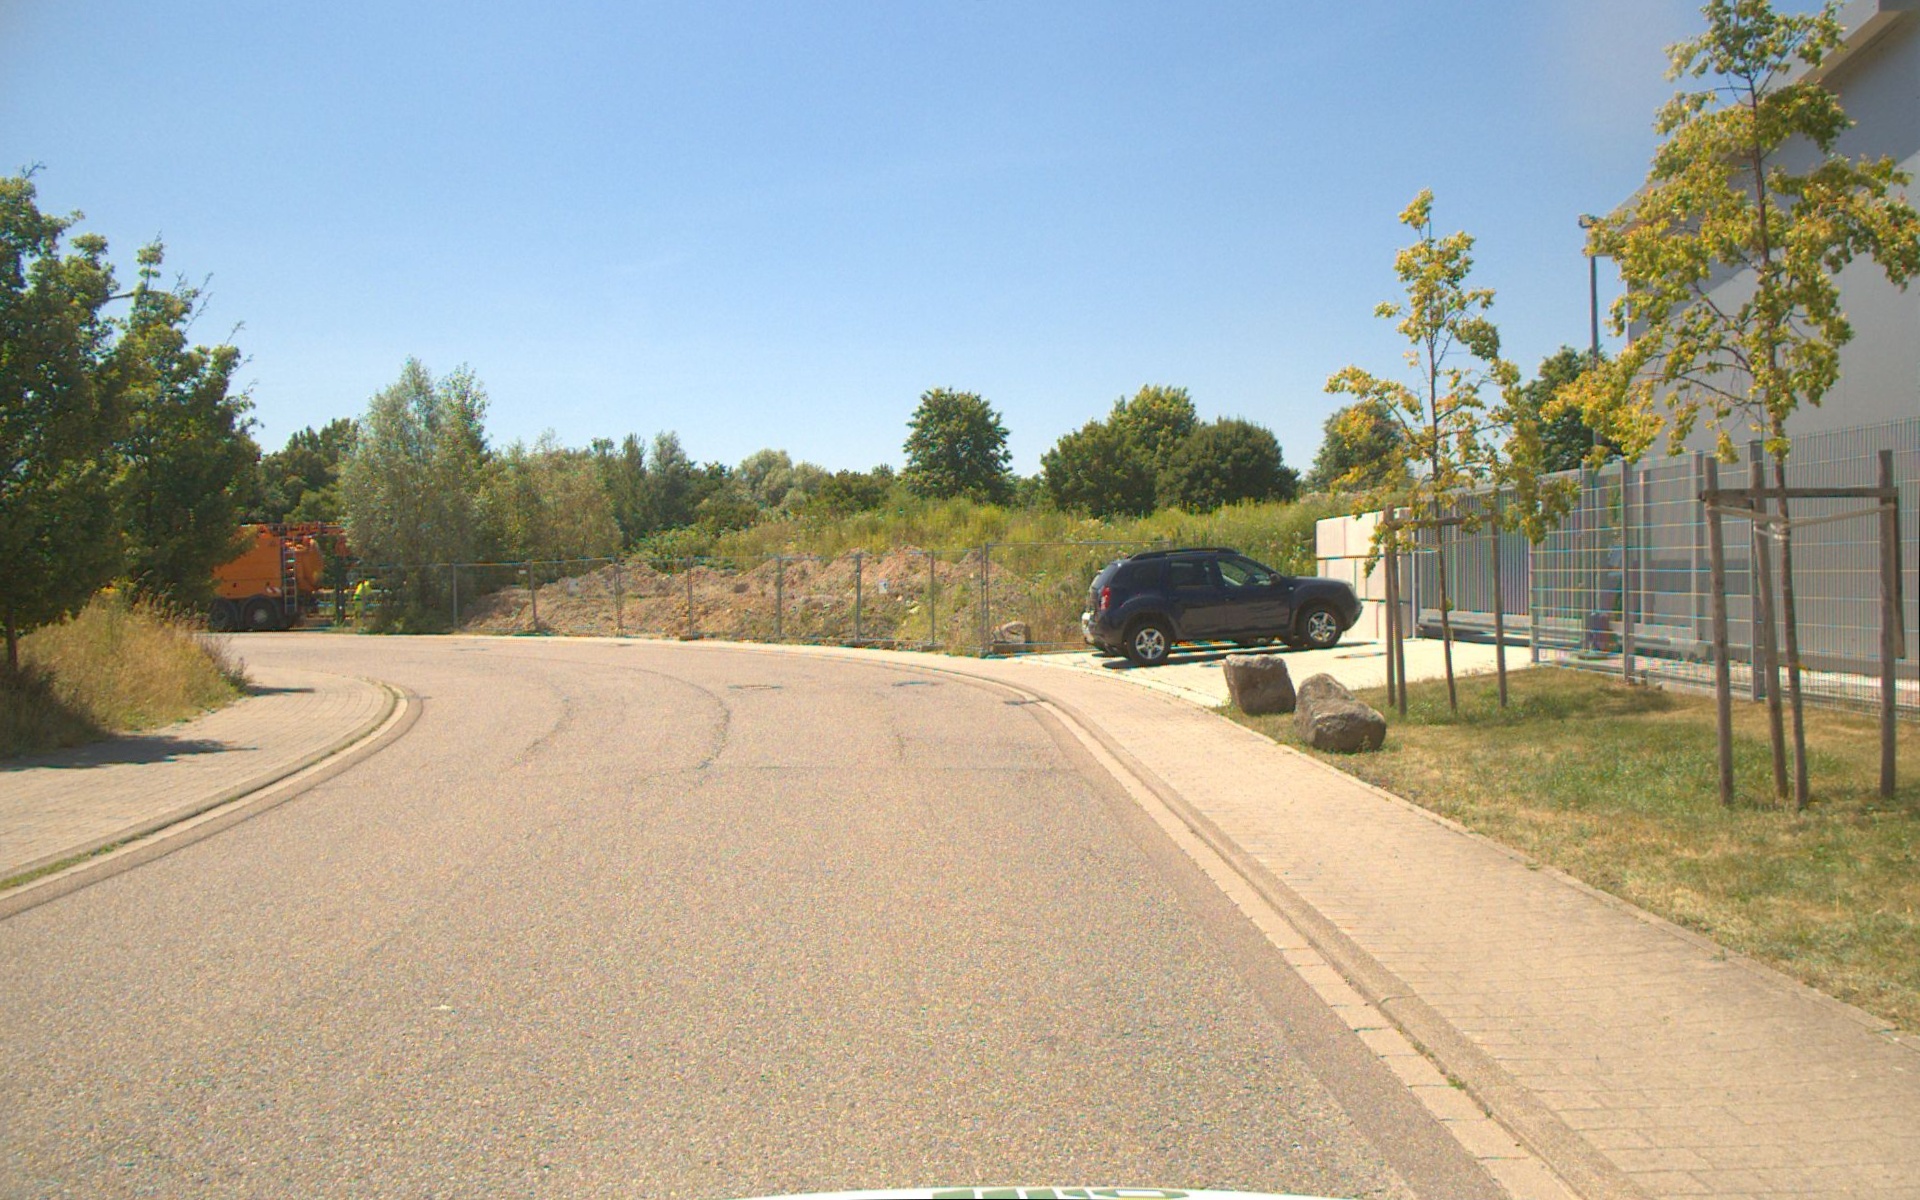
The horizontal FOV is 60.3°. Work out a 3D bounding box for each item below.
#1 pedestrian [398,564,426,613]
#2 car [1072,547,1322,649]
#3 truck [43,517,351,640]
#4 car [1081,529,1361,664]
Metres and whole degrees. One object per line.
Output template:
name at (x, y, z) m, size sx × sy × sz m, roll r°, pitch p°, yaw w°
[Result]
pedestrian at (-20.970, -0.440, 63.319) m, size 0.858 × 1.856 × 0.739 m, roll 0°, pitch 0°, yaw -3°
car at (4.022, -0.048, 28.493) m, size 3.930 × 1.487 × 1.892 m, roll -3°, pitch 1°, yaw -3°
truck at (-25.508, -0.742, 55.820) m, size 8.415 × 3.872 × 4.161 m, roll -1°, pitch 1°, yaw -5°
car at (3.996, -0.067, 25.764) m, size 3.930 × 1.683 × 1.857 m, roll -5°, pitch 1°, yaw -2°
